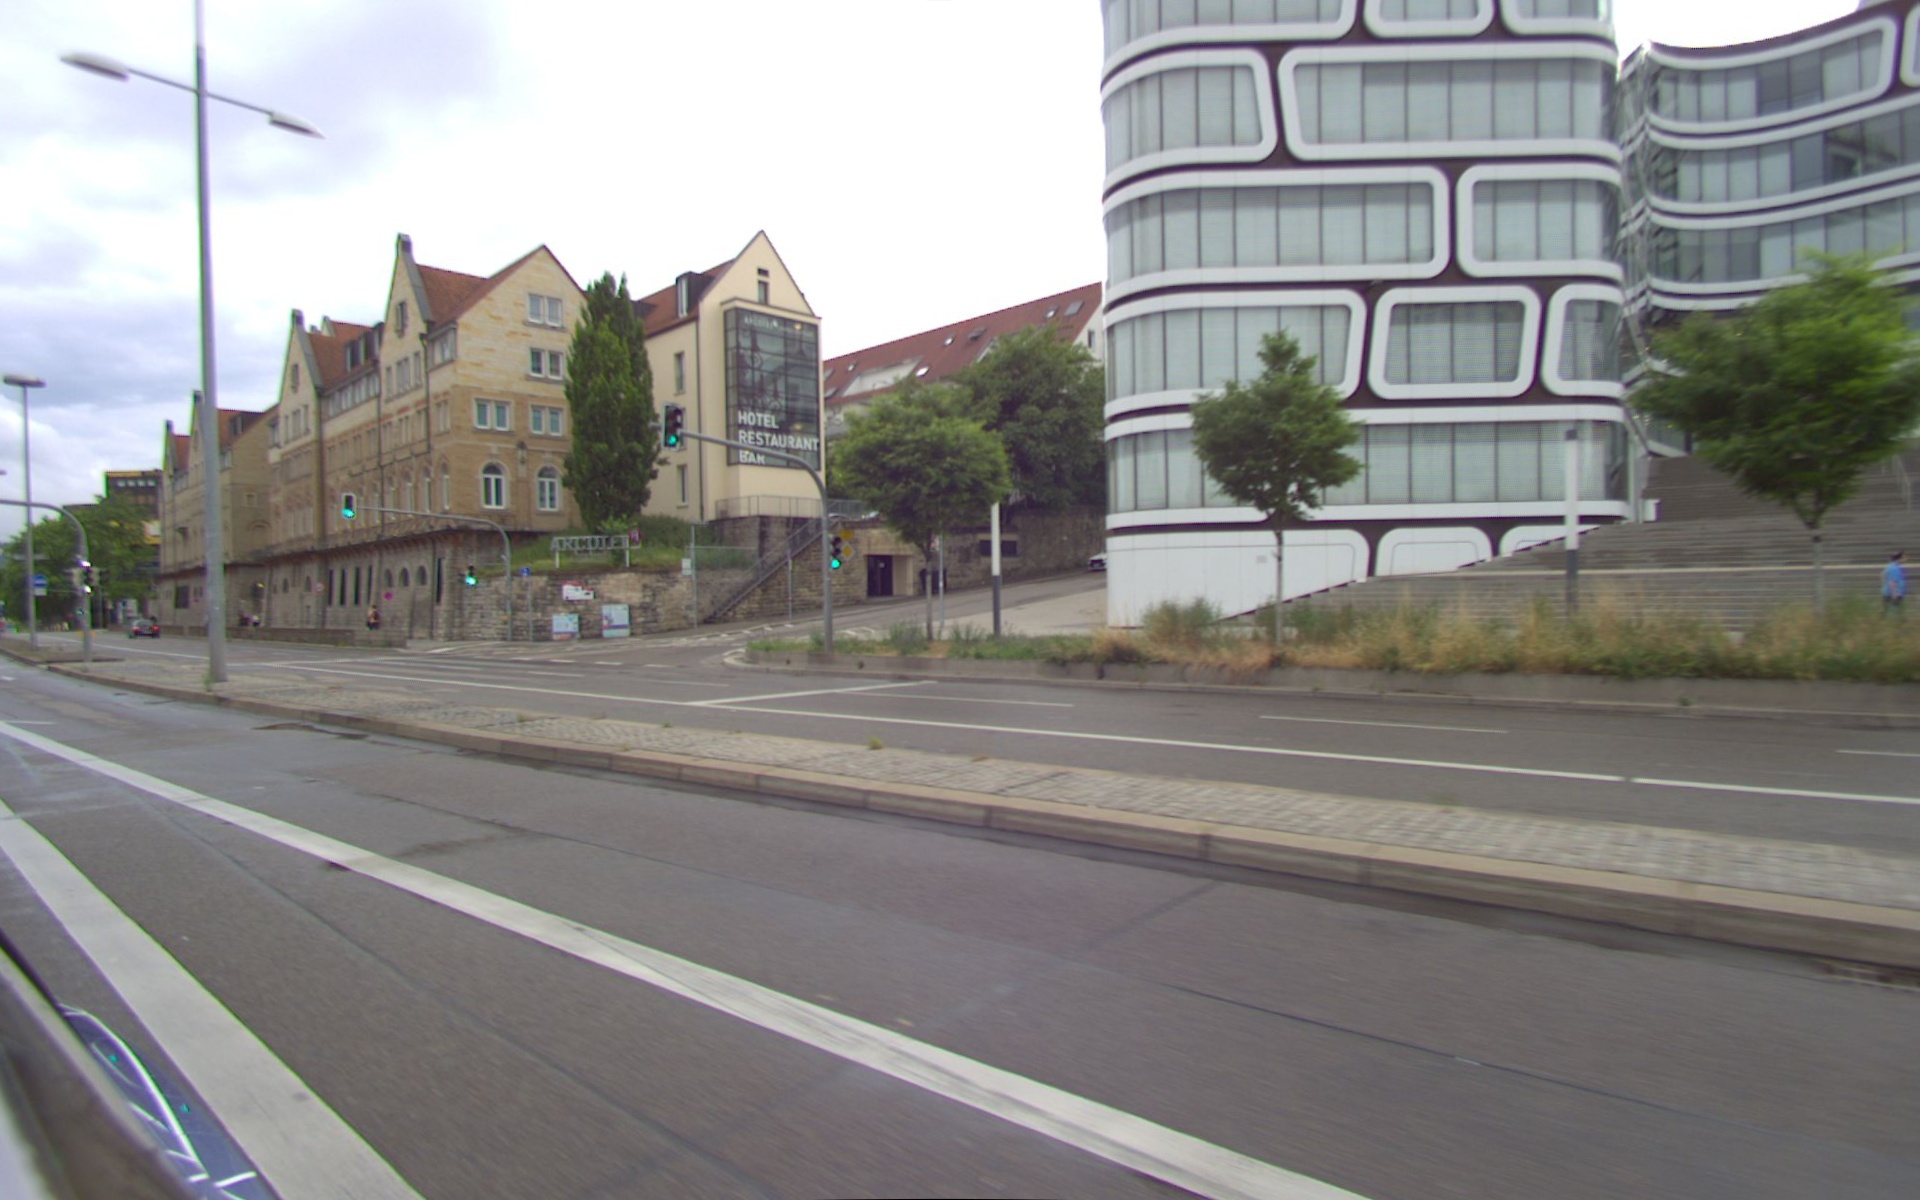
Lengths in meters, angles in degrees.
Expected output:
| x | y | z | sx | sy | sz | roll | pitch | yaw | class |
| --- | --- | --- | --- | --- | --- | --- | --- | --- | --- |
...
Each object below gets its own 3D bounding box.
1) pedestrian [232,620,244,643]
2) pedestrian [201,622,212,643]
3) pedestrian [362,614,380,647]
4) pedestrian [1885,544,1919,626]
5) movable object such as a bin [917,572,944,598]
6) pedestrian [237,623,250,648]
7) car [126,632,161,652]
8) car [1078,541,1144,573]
| x | y | z | sx | sy | sz | roll | pitch | yaw | class |
| --- | --- | --- | --- | --- | --- | --- | --- | --- | --- |
| -56.173 | 2.453 | 78.734 | 0.684 | 1.792 | 0.668 | 0 | 0 | 44 | pedestrian |
| -64.917 | 2.771 | 87.216 | 0.684 | 1.792 | 0.668 | 0 | 0 | 44 | pedestrian |
| -32.023 | 1.655 | 55.012 | 0.684 | 1.792 | 0.668 | 0 | 0 | 44 | pedestrian |
| 19.080 | -0.292 | 20.374 | 0.639 | 1.623 | 0.604 | 0 | 0 | 41 | pedestrian |
| -1.605 | -0.826 | 55.648 | 1.118 | 1.252 | 0.816 | -3 | 6 | 43 | movable object such as a bin |
| -52.425 | 2.622 | 74.048 | 0.684 | 1.792 | 0.668 | 0 | 0 | 44 | pedestrian |
| -65.626 | 3.363 | 81.290 | 4.001 | 1.475 | 1.692 | -2 | 0 | 44 | car |
| 9.326 | -2.658 | 62.230 | 2.054 | 1.696 | 3.944 | 0 | 5 | 44 | car |
